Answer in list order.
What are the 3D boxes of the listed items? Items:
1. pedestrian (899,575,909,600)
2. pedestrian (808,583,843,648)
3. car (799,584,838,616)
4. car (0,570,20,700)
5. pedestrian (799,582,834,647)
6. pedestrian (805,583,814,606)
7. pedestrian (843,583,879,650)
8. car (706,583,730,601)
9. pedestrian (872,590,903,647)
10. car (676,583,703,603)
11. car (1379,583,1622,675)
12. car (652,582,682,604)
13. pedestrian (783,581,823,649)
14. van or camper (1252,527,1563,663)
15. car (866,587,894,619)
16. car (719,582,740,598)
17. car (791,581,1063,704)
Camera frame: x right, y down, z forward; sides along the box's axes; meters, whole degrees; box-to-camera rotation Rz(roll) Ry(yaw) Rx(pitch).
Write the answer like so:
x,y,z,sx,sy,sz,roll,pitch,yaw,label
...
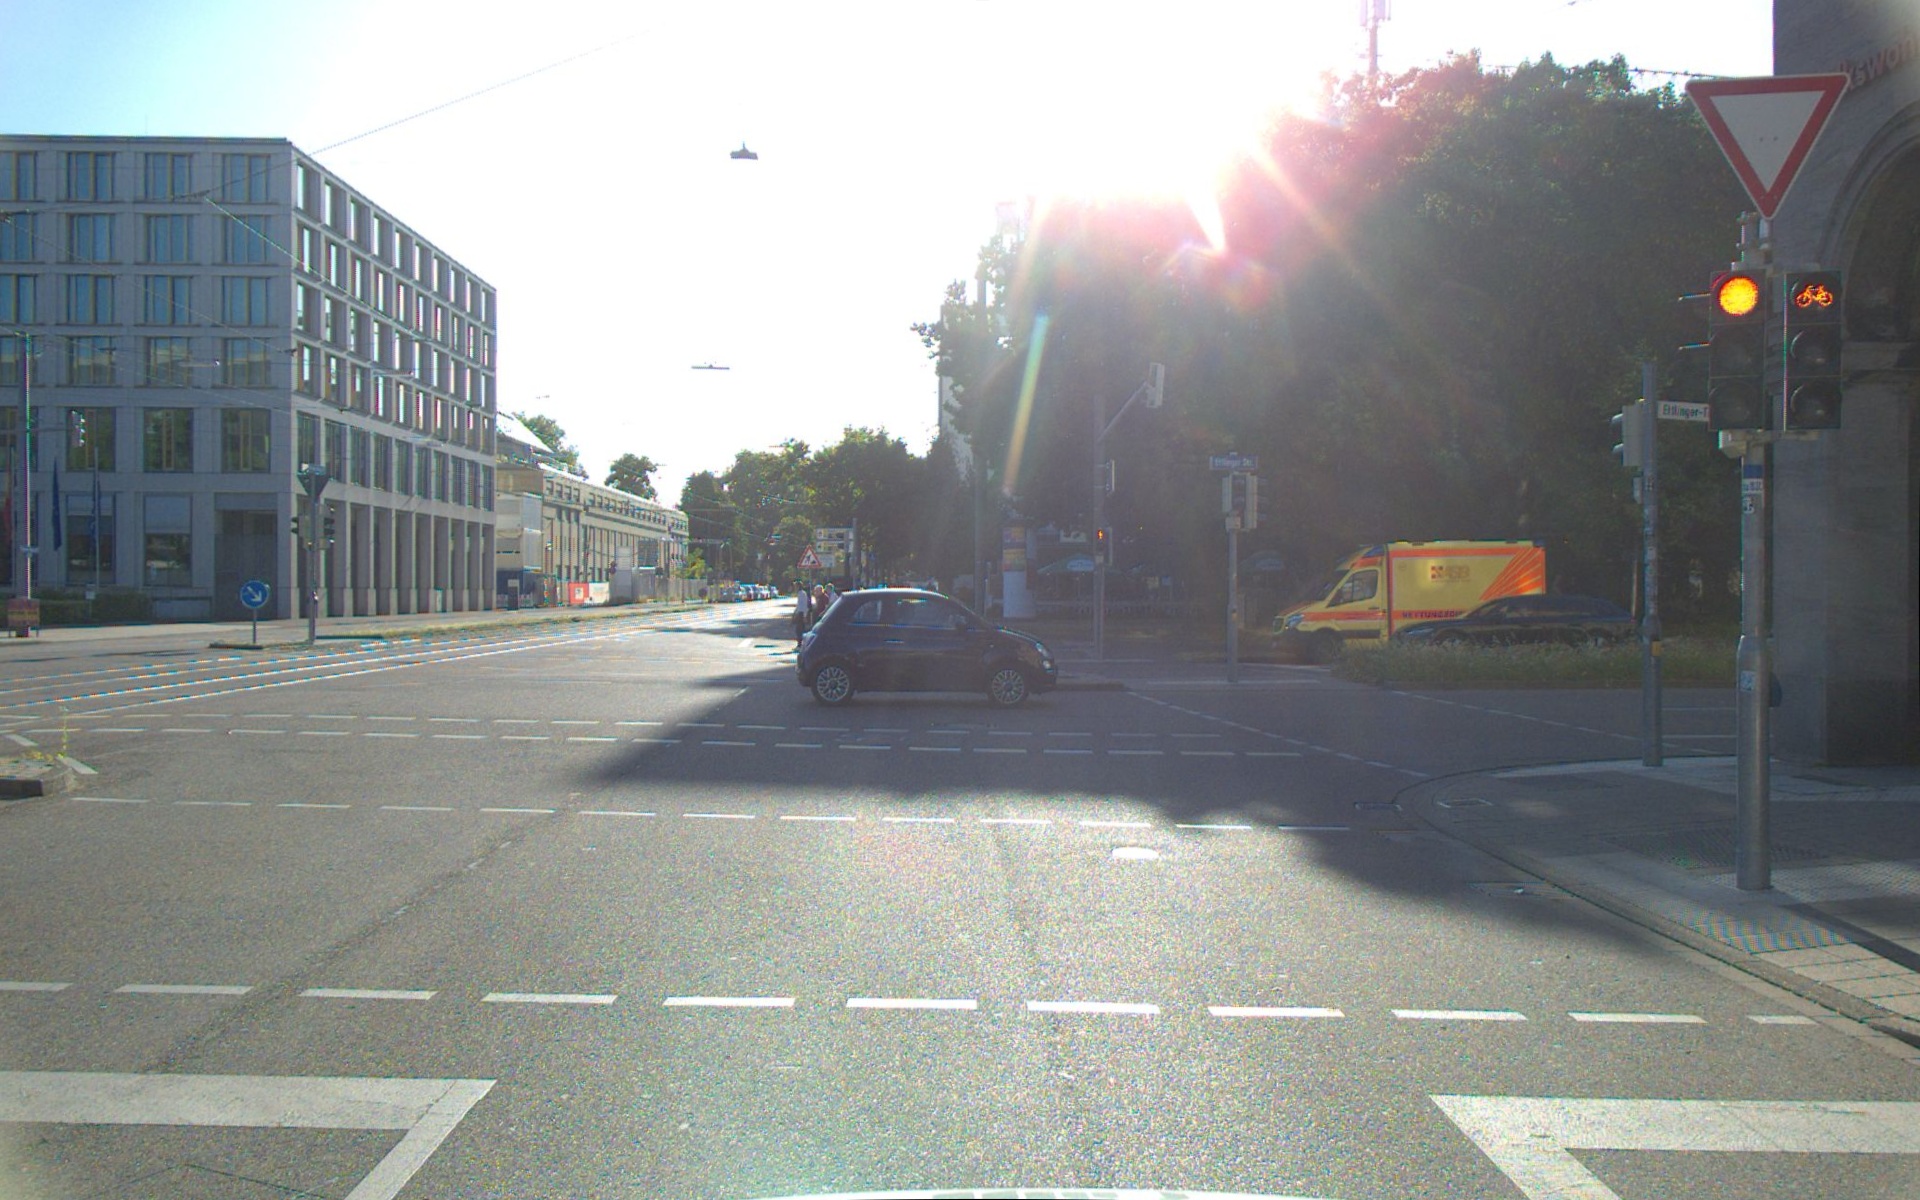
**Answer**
x,y,z,sx,sy,sz,roll,pitch,yaw,label
-8.301,-1.888,245.651,1.373,3.660,1.567,2,-1,-1,pedestrian
-3.762,0.426,46.193,0.834,1.815,0.776,0,0,-17,pedestrian
-6.977,0.023,81.743,1.650,1.527,3.508,2,-1,-1,car
-14.807,0.436,20.845,4.799,1.685,1.934,1,1,-1,car
-4.074,0.413,46.957,0.834,1.815,0.776,0,0,-17,pedestrian
-9.757,-0.343,107.547,0.513,1.510,0.437,2,-1,-2,pedestrian
-2.720,0.449,45.608,0.834,1.815,0.776,0,0,-17,pedestrian
-22.741,-0.749,155.509,1.782,1.742,3.805,0,0,-1,car
-2.024,0.504,46.393,0.750,1.586,0.585,0,0,-17,pedestrian
-23.539,-0.628,144.016,1.782,1.742,3.805,0,0,-1,car
10.747,0.576,33.111,4.226,1.676,1.887,2,-1,-1,car
-23.548,-0.597,133.107,1.782,1.742,3.805,0,0,-1,car
-4.247,0.394,44.718,0.950,1.815,0.776,0,0,-17,pedestrian
10.368,-0.103,38.883,6.568,2.912,2.912,2,-1,3,van or camper
-5.203,0.236,107.542,1.650,1.996,3.508,2,-1,-1,car
-22.251,-0.917,159.710,1.577,1.525,3.805,0,0,-1,car
-0.446,0.548,21.867,3.460,1.532,1.521,1,0,-3,car
